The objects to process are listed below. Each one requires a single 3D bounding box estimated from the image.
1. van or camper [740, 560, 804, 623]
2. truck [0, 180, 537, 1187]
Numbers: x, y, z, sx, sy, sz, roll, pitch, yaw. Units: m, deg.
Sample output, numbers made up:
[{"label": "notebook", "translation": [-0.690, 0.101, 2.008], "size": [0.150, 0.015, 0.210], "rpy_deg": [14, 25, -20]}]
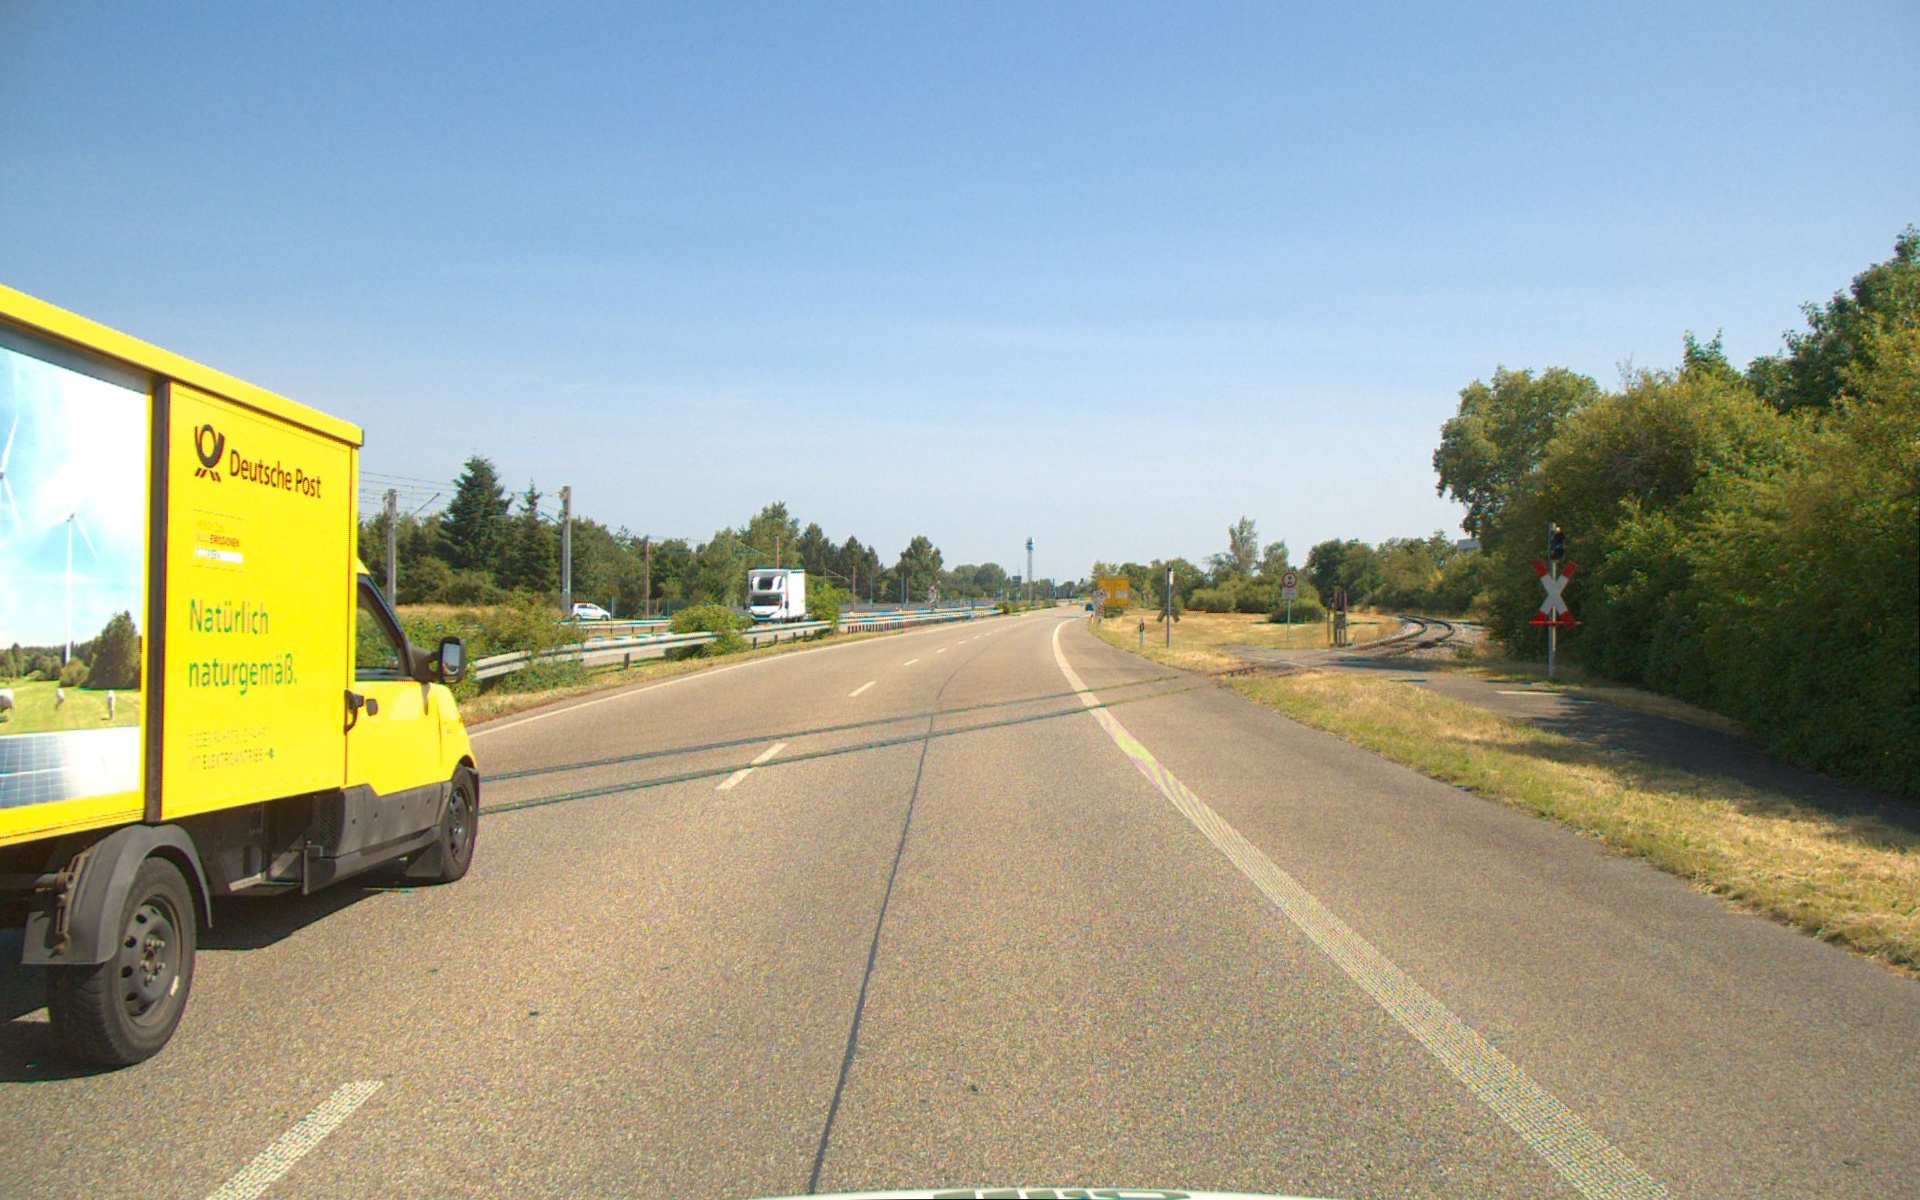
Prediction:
[{"label": "van or camper", "translation": [-11.526, -0.516, 102.120], "size": [2.817, 3.745, 8.645], "rpy_deg": [0, 0, 1]}, {"label": "truck", "translation": [-3.441, 0.195, 6.485], "size": [2.069, 2.500, 5.916], "rpy_deg": [1, 0, -1]}]
